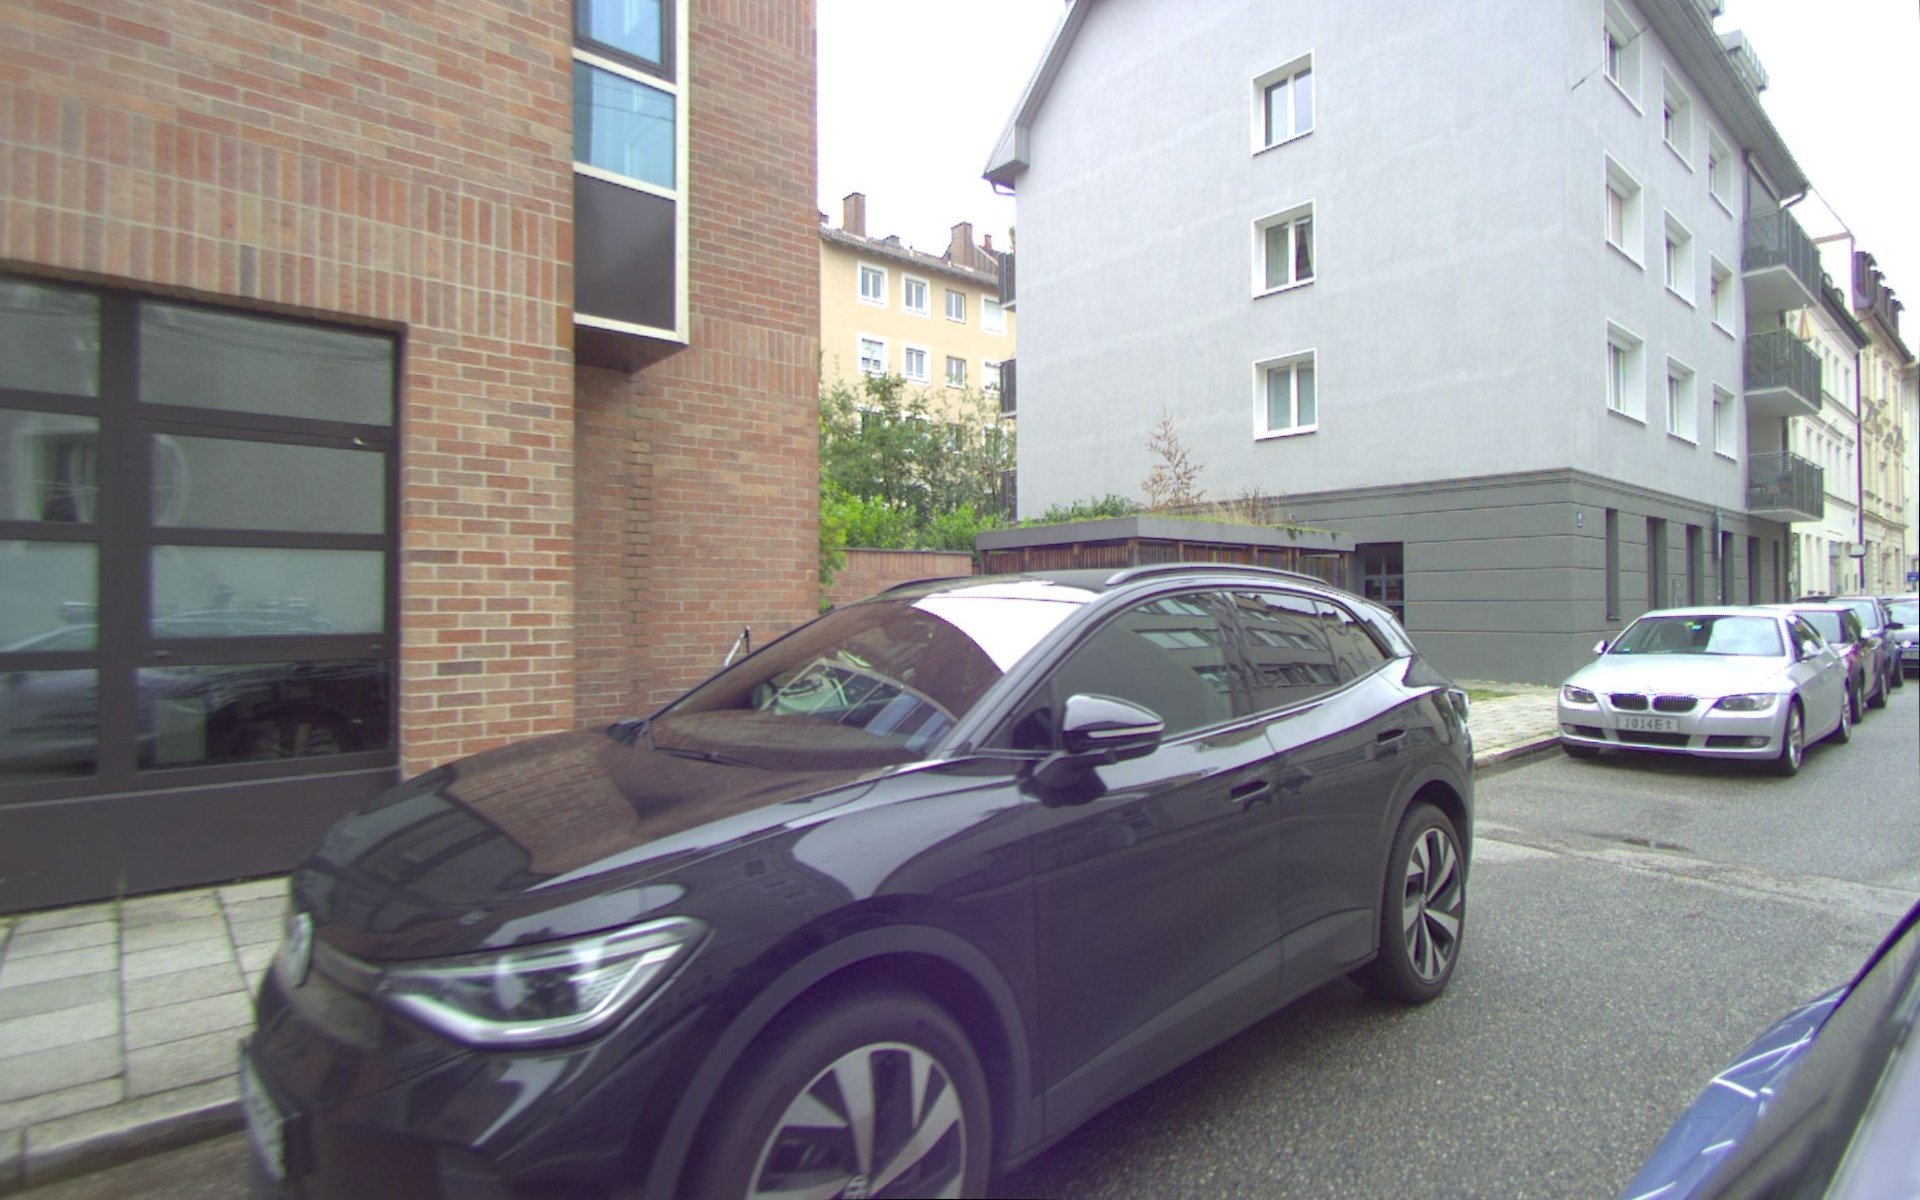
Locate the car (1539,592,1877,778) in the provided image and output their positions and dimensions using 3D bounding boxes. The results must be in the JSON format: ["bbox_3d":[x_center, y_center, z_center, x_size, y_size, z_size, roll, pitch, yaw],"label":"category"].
[{"bbox_3d":[7.576,0.661,10.064,4.522,1.435,1.838,0,-1,-42],"label":"car"}]

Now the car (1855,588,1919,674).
[{"bbox_3d":[18.821,0.540,19.539,4.219,1.548,1.842,0,-1,-42],"label":"car"}]

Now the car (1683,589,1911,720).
[{"bbox_3d":[11.184,0.614,13.424,4.079,1.480,1.747,0,-1,-42],"label":"car"}]

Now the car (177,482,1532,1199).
[{"bbox_3d":[0.161,0.645,3.429,4.318,1.575,1.887,0,-1,-43],"label":"car"}]

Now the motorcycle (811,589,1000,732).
[{"bbox_3d":[-0.542,0.572,10.459,1.901,1.361,0.542,-1,0,-30],"label":"motorcycle"}]

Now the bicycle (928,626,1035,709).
[{"bbox_3d":[0.264,0.758,11.729,1.296,0.870,0.375,-1,0,-38],"label":"bicycle"}]

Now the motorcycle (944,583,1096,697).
[{"bbox_3d":[0.720,0.467,13.278,0.540,1.360,2.523,-1,1,-35],"label":"motorcycle"}]

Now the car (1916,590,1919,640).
[{"bbox_3d":[29.147,0.421,29.283,4.274,1.403,1.802,0,0,-42],"label":"car"}]

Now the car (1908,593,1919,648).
[{"bbox_3d":[25.982,0.502,26.123,3.876,1.380,1.811,0,0,-41],"label":"car"}]

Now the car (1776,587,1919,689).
[{"bbox_3d":[14.827,0.568,16.784,3.147,1.531,1.523,0,-1,-42],"label":"car"}]

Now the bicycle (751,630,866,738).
[{"bbox_3d":[-1.399,0.730,9.199,0.406,0.870,1.318,-1,1,-40],"label":"bicycle"}]

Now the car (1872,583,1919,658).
[{"bbox_3d":[22.071,0.414,22.824,4.243,1.590,1.878,-1,1,-43],"label":"car"}]

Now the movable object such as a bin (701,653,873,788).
[{"bbox_3d":[-1.294,0.846,7.490,0.829,0.842,1.089,0,0,-40],"label":"movable object such as a bin"}]
